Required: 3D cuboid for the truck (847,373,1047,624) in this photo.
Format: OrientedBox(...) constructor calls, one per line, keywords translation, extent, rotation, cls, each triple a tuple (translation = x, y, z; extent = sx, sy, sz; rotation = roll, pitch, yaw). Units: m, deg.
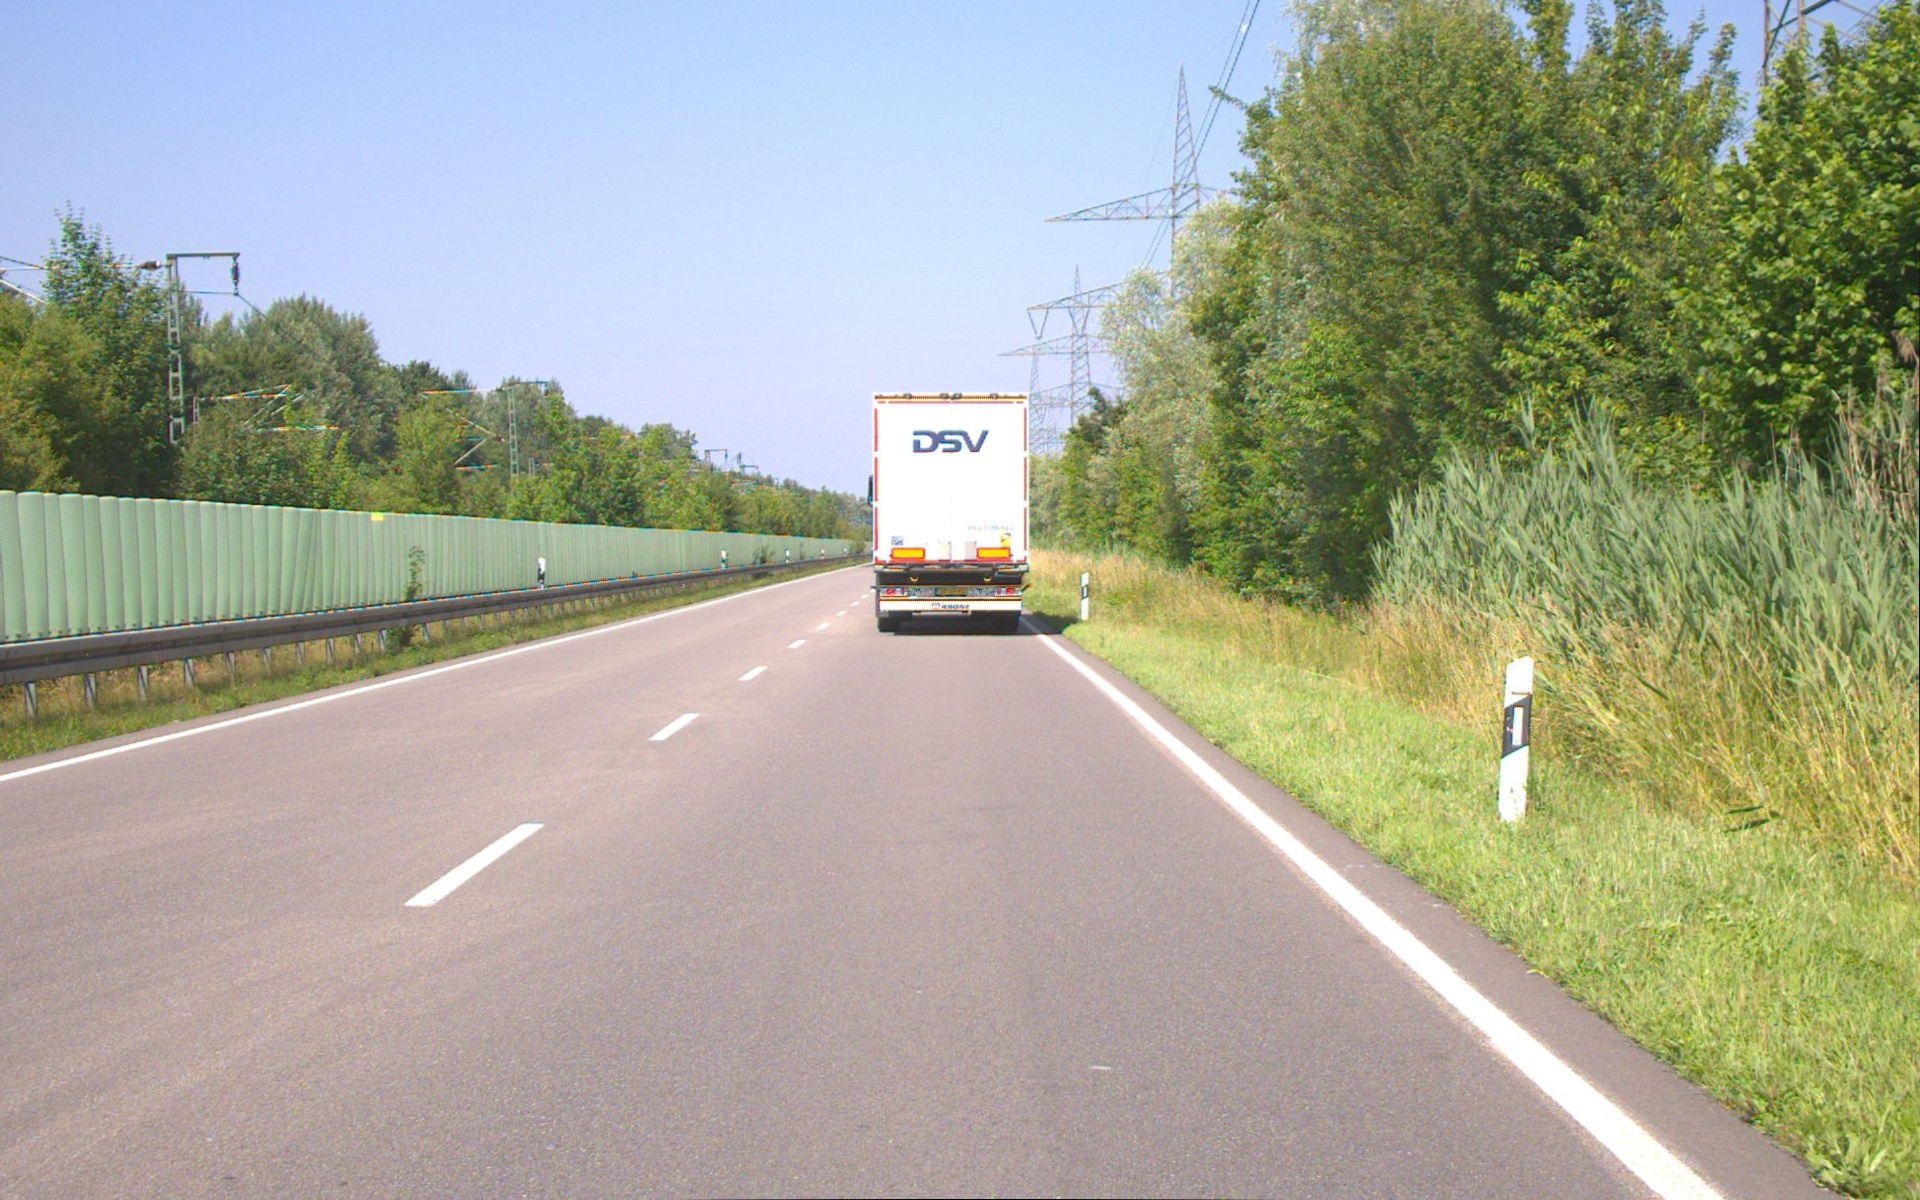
OrientedBox(translation=(-0.288, -1.751, 61.607), extent=(3.192, 4.029, 12.008), rotation=(-1, 1, -1), cls="truck")
